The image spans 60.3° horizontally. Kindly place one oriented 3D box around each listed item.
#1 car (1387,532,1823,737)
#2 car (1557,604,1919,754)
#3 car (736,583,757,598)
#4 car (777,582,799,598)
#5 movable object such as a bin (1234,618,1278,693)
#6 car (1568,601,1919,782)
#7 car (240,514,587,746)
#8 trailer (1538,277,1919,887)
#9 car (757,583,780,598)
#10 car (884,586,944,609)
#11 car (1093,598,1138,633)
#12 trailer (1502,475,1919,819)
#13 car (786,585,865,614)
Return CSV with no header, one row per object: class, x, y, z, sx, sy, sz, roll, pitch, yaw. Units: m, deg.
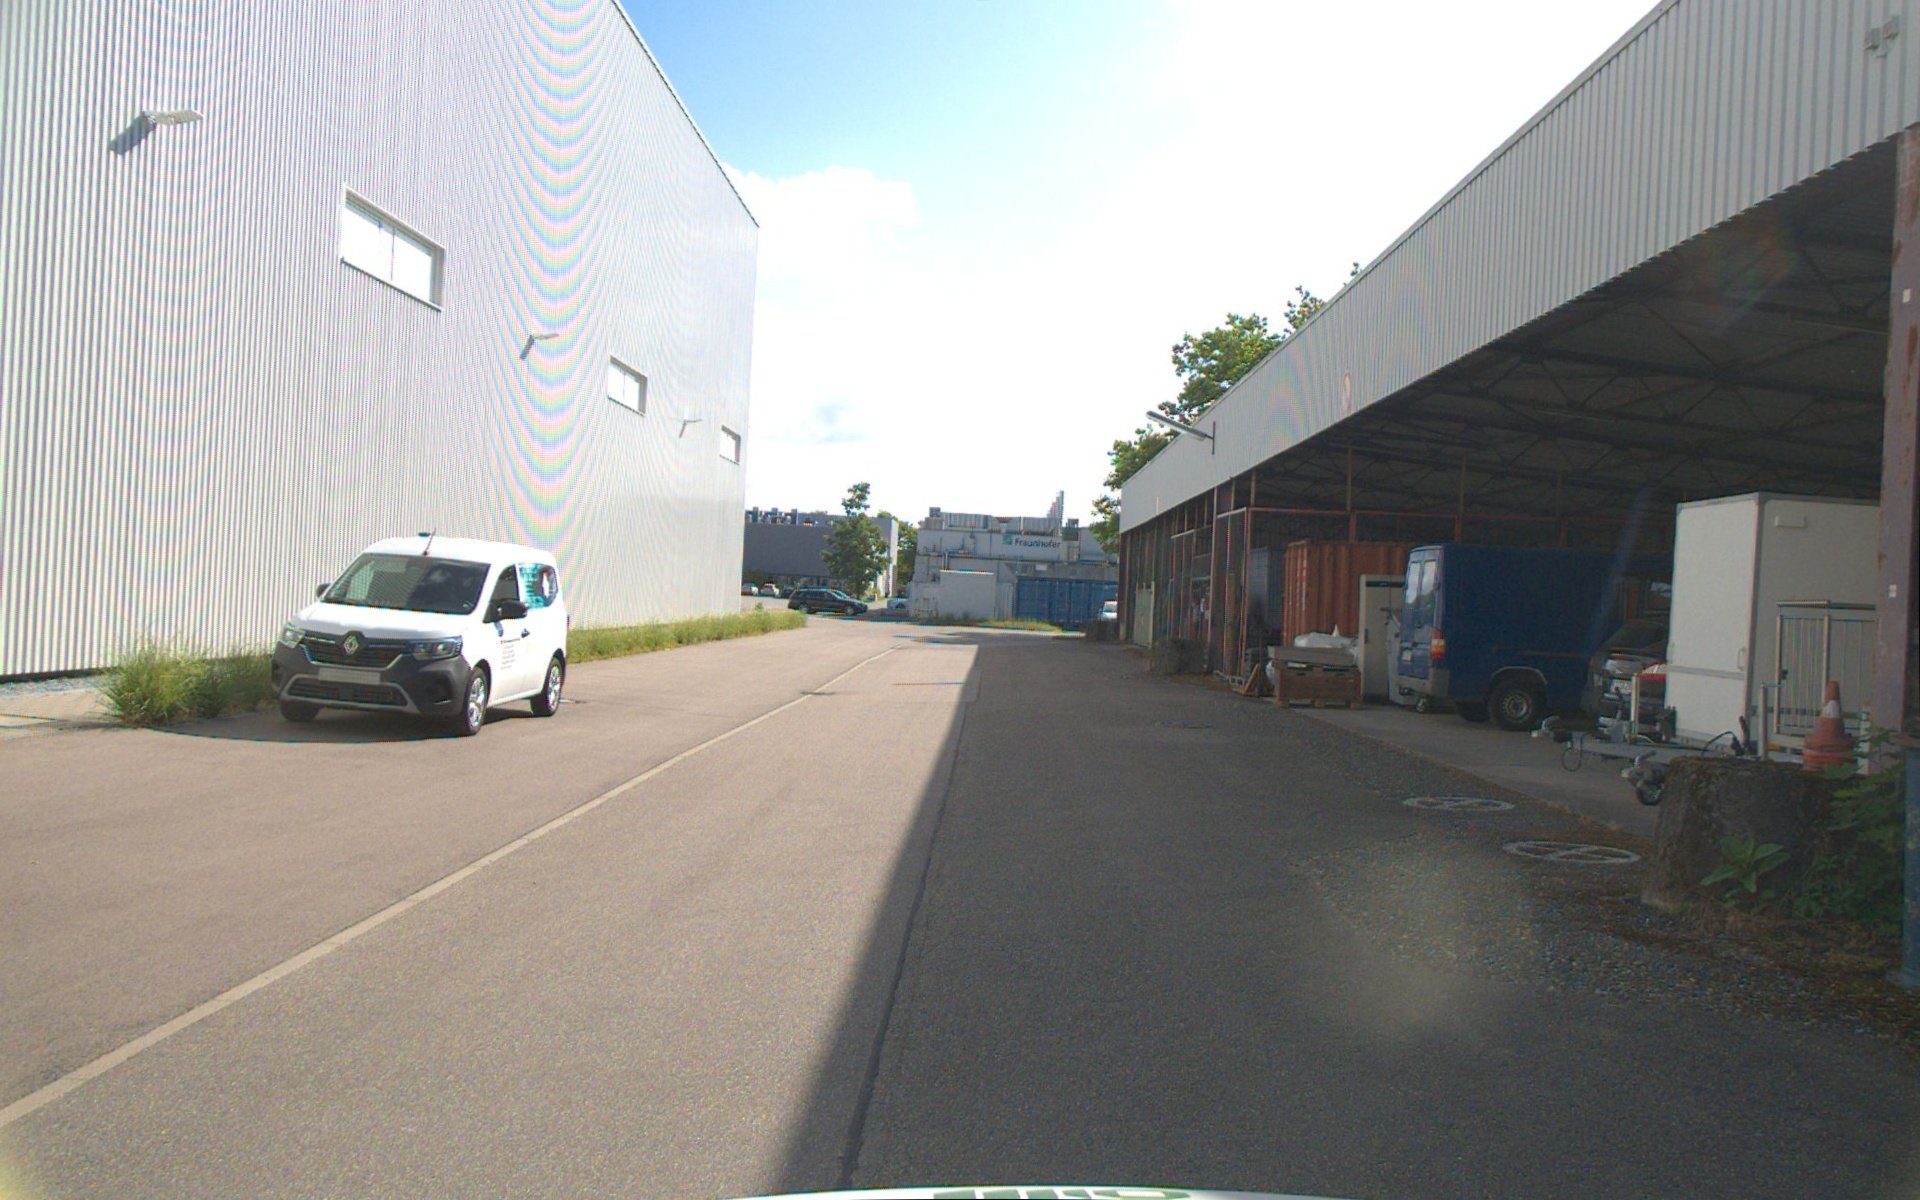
car,8.301,0.423,21.635,4.876,2.366,2.000,2,0,1
car,9.026,0.869,18.661,3.908,1.498,1.787,2,0,-4
car,-25.239,-1.142,195.789,1.952,1.766,4.000,1,0,0
car,-20.224,-1.134,194.364,2.148,1.766,4.000,1,0,0
movable object such as a bin,4.884,0.908,27.353,0.569,1.185,1.239,2,0,5
car,8.178,0.842,15.541,4.241,1.522,1.777,2,0,-2
car,-5.241,0.255,16.556,1.852,1.877,4.359,5,0,0
trailer,9.064,0.030,10.346,9.831,3.272,2.854,2,0,1
car,-22.700,-1.133,196.104,2.148,1.766,4.000,1,0,0
car,-3.486,-0.174,126.335,4.432,1.534,1.909,2,0,2
car,8.048,0.779,85.839,1.953,1.613,4.173,2,2,0
trailer,6.888,0.366,12.914,4.711,2.433,1.828,2,0,6
car,-8.024,-0.029,98.784,4.432,1.534,1.909,2,0,3
